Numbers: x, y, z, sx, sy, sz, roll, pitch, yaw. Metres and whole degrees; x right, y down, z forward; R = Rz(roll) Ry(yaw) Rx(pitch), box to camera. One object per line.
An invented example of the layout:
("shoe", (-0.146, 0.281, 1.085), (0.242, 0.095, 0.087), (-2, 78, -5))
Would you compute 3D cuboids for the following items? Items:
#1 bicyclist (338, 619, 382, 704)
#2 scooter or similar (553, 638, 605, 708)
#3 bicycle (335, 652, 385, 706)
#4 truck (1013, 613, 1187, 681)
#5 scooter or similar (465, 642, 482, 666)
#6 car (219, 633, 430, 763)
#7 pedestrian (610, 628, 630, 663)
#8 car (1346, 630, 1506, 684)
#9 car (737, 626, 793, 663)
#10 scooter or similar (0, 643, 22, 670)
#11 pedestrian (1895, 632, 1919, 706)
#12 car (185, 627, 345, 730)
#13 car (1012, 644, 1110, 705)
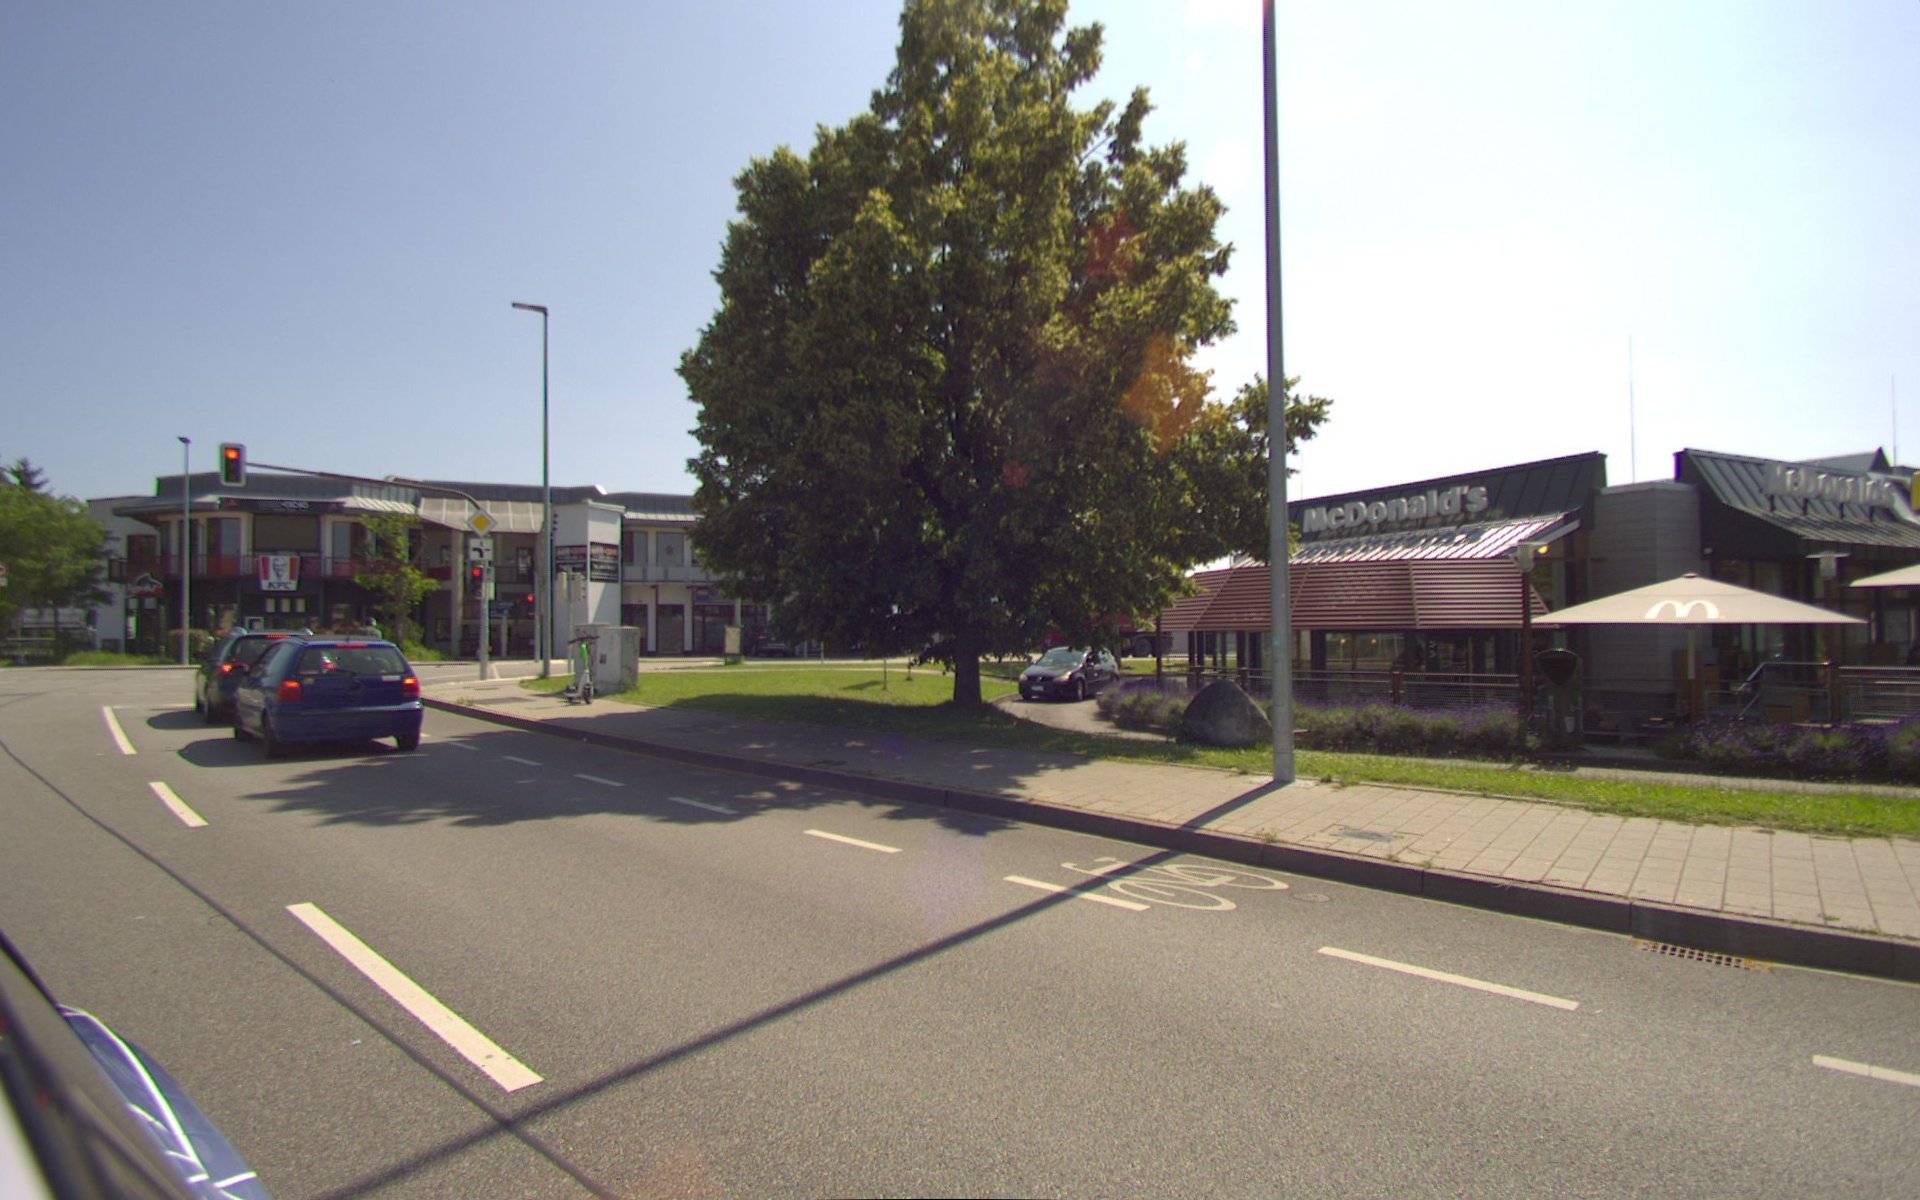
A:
("bicyclist", (-13.101, 1.333, 22.097), (0.701, 1.802, 0.810), (2, -3, -37))
("scooter or similar", (-6.776, 1.275, 17.976), (0.465, 1.193, 1.368), (2, -3, -38))
("bicycle", (-13.082, 1.701, 22.046), (0.688, 1.113, 1.759), (4, -4, -37))
("truck", (7.643, 2.499, 54.920), (9.009, 3.412, 3.325), (1, -3, -27))
("scooter or similar", (-22.940, 2.534, 47.736), (0.492, 1.132, 1.509), (1, -2, -18))
("car", (-8.189, 1.130, 12.892), (1.635, 1.391, 4.005), (2, -3, -41))
("pedestrian", (-16.104, 2.161, 47.941), (0.722, 1.658, 0.843), (0, -2, -6))
("car", (14.619, 1.760, 31.867), (1.838, 1.564, 4.190), (2, -3, -45))
("car", (-10.459, 2.353, 54.070), (1.777, 1.870, 4.674), (1, -3, -26))
("scooter or similar", (-40.885, 2.409, 43.579), (0.420, 1.132, 1.455), (1, -3, -32))
("pedestrian", (19.792, 1.408, 20.825), (0.752, 1.485, 0.824), (-2, -3, 41))
("car", (-11.973, 1.250, 17.298), (1.757, 1.508, 4.730), (2, -3, -40))
("car", (2.945, 2.042, 28.661), (1.851, 1.564, 4.161), (-1, -2, 19))
